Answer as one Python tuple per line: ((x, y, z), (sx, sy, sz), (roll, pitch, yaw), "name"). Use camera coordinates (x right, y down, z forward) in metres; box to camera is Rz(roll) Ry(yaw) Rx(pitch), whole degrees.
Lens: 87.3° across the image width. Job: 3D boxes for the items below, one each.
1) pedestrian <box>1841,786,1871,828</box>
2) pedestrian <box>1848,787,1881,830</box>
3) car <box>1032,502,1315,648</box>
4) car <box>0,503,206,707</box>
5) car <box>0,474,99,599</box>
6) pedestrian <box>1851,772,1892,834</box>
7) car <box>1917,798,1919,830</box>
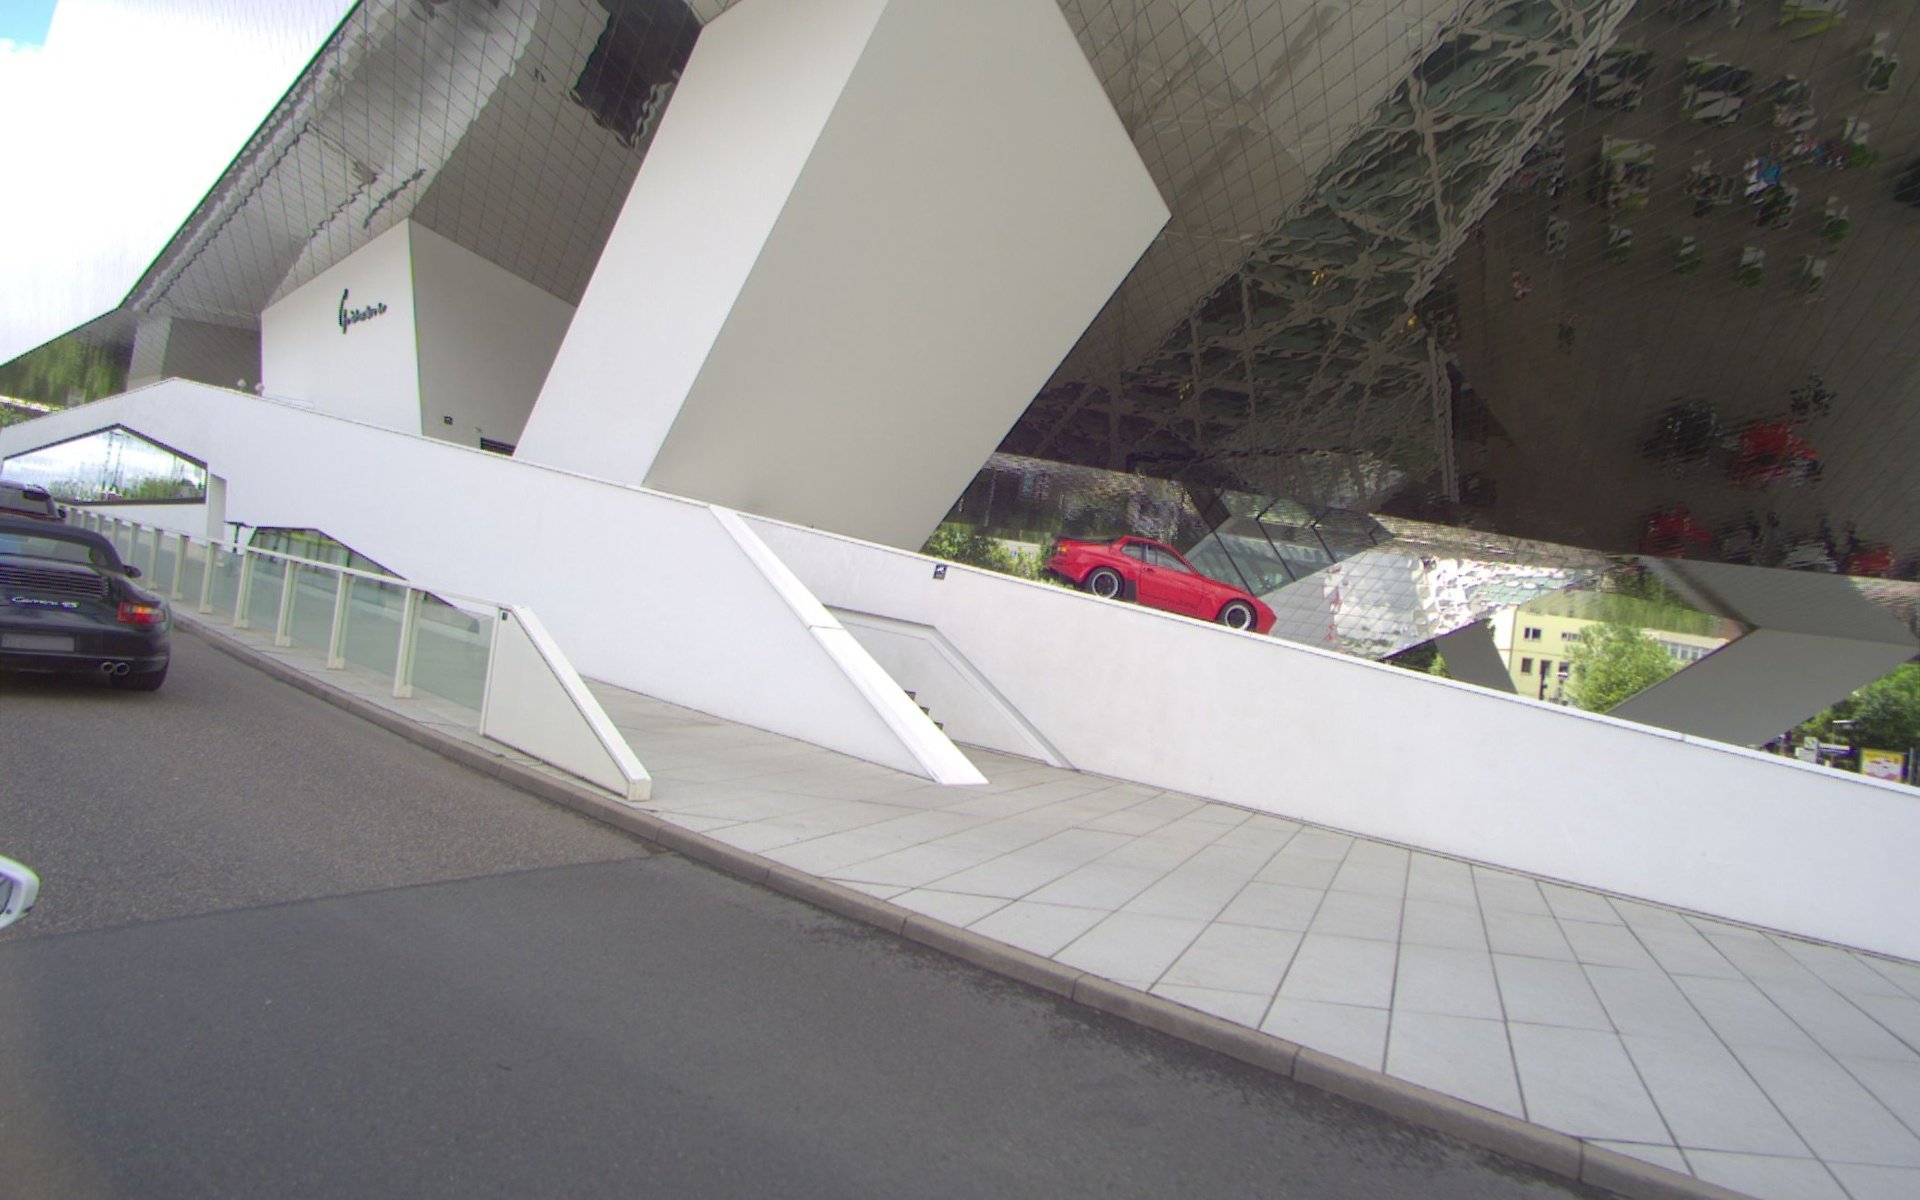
((40.970, 9.464, 46.010), (0.763, 1.757, 0.828), (5, -4, 27), "pedestrian")
((40.259, 9.271, 44.776), (0.763, 1.757, 0.828), (5, -4, 23), "pedestrian")
((3.676, -0.425, 17.956), (4.437, 1.410, 1.999), (14, 1, -2), "car")
((-8.241, -0.107, 8.736), (3.943, 1.341, 1.833), (8, -1, 41), "car")
((-15.327, -1.174, 15.794), (3.942, 1.654, 1.994), (8, -3, 40), "car")
((32.650, 7.244, 36.052), (0.763, 2.035, 0.828), (5, -4, 23), "pedestrian")
((48.254, 10.597, 48.480), (1.855, 1.570, 4.004), (5, -5, 26), "car")
